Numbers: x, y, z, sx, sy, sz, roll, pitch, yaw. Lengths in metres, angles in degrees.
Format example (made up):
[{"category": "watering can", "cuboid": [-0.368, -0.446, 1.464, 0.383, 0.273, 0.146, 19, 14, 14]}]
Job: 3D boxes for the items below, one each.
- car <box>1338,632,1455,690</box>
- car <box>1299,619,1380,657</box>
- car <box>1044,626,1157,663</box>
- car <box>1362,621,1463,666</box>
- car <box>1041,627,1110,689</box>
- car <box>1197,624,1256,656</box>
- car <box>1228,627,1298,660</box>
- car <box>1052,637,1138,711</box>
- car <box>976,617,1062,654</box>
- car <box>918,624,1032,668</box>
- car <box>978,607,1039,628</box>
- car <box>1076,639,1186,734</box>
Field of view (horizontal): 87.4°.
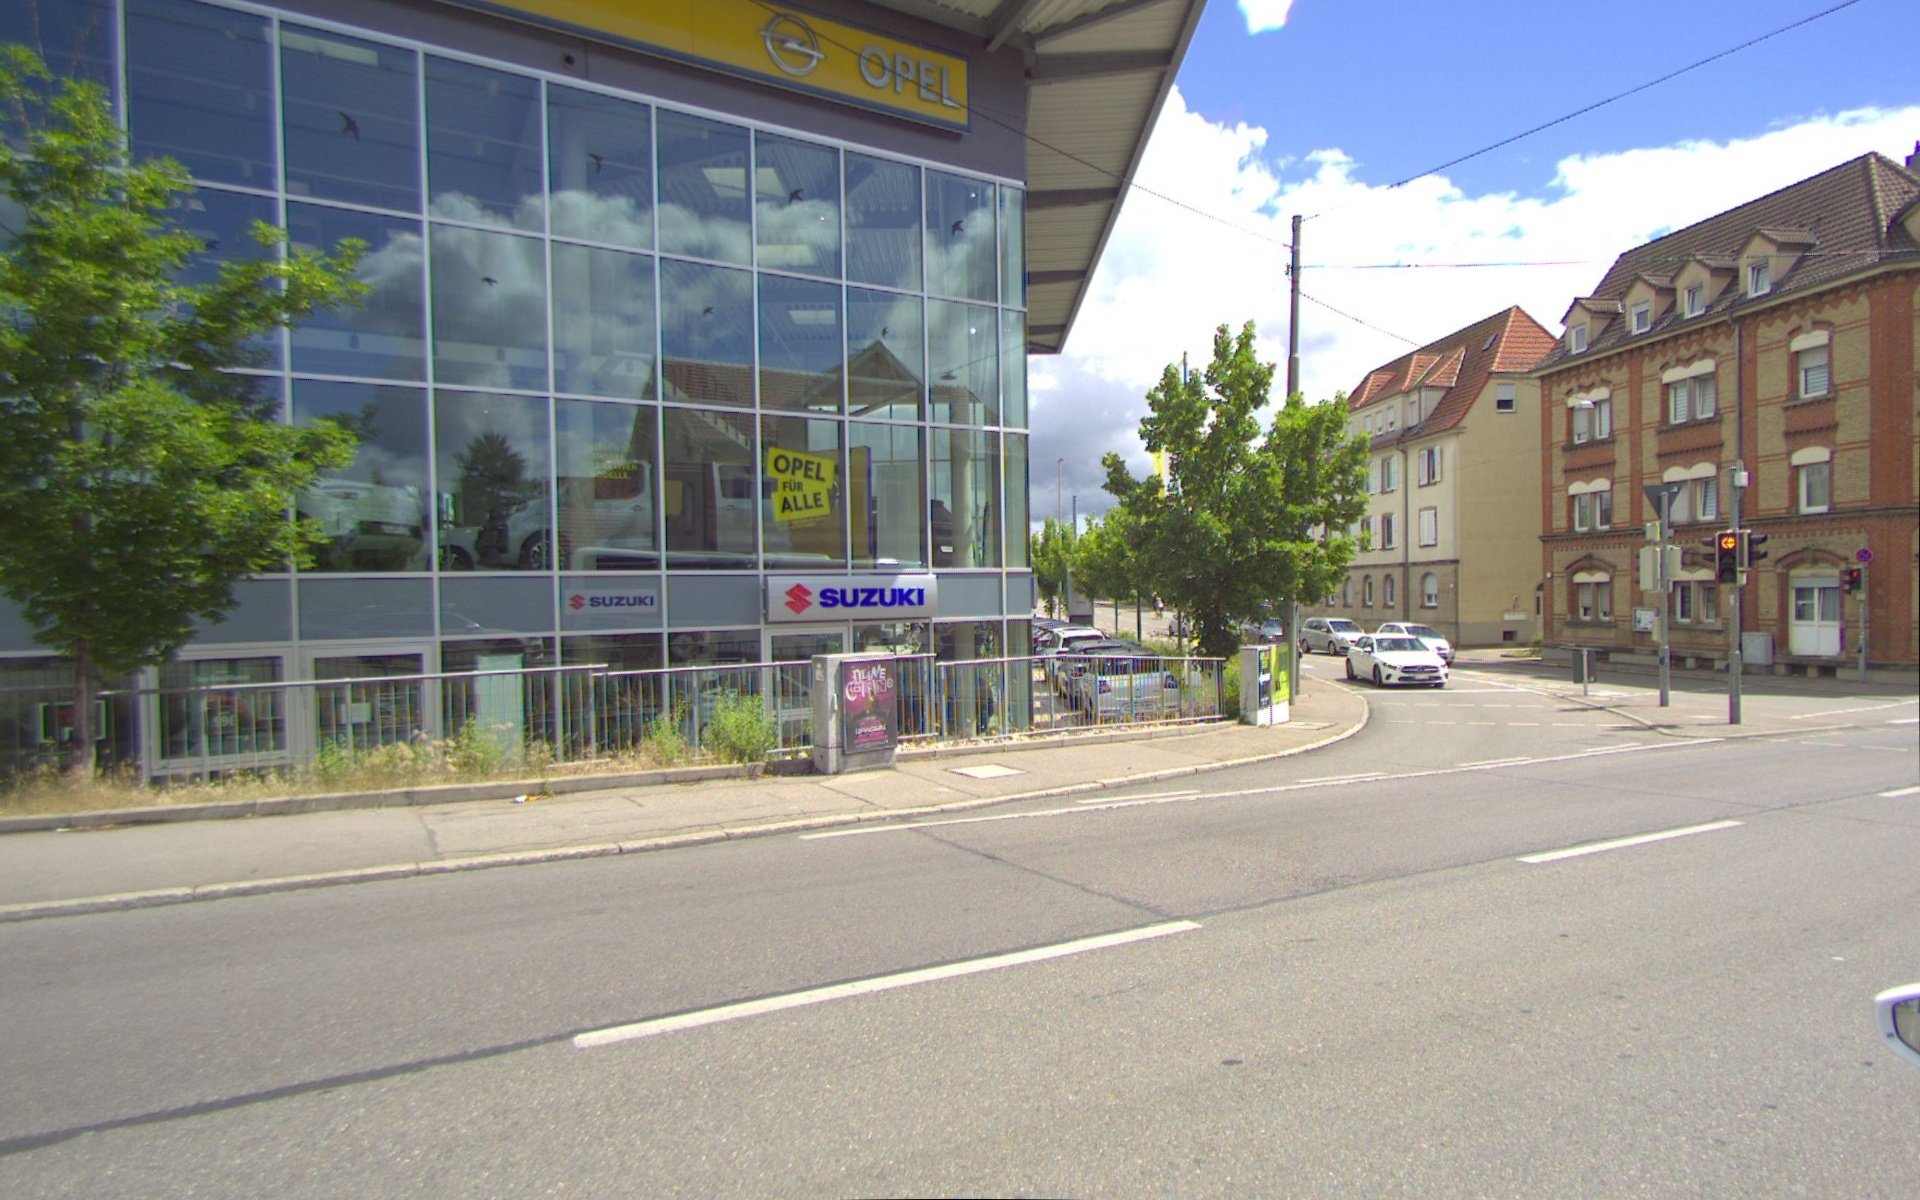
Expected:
[{"category": "car", "cuboid": [12.367, 1.684, 28.769, 1.825, 1.466, 4.394, 1, -1, 6]}, {"category": "car", "cuboid": [16.735, 1.643, 44.508, 1.715, 1.539, 3.996, 1, -1, -7]}, {"category": "car", "cuboid": [5.165, 1.634, 37.205, 3.921, 1.202, 1.818, 1, -1, 0]}, {"category": "car", "cuboid": [17.062, 1.609, 38.083, 1.670, 1.517, 3.995, 1, -1, -7]}, {"category": "car", "cuboid": [3.278, 1.633, 29.089, 1.487, 1.596, 3.414, 1, -1, -2]}, {"category": "car", "cuboid": [14.830, 2.199, 56.193, 1.961, 1.607, 4.345, 1, 0, -2]}, {"category": "car", "cuboid": [15.333, 2.187, 51.014, 1.963, 1.539, 3.996, 1, -1, -7]}, {"category": "car", "cuboid": [3.229, 1.754, 24.695, 1.487, 1.543, 3.792, 1, -1, -2]}, {"category": "car", "cuboid": [2.647, 1.587, 45.864, 1.974, 1.599, 4.476, 1, -1, -26]}, {"category": "car", "cuboid": [0.558, 1.677, 37.091, 3.919, 1.478, 1.605, 1, -1, 15]}, {"category": "car", "cuboid": [3.209, 1.160, 66.892, 3.921, 1.311, 1.818, 1, -1, 0]}, {"category": "car", "cuboid": [3.393, 1.688, 20.546, 1.720, 1.596, 3.687, 2, -1, 3]}]
